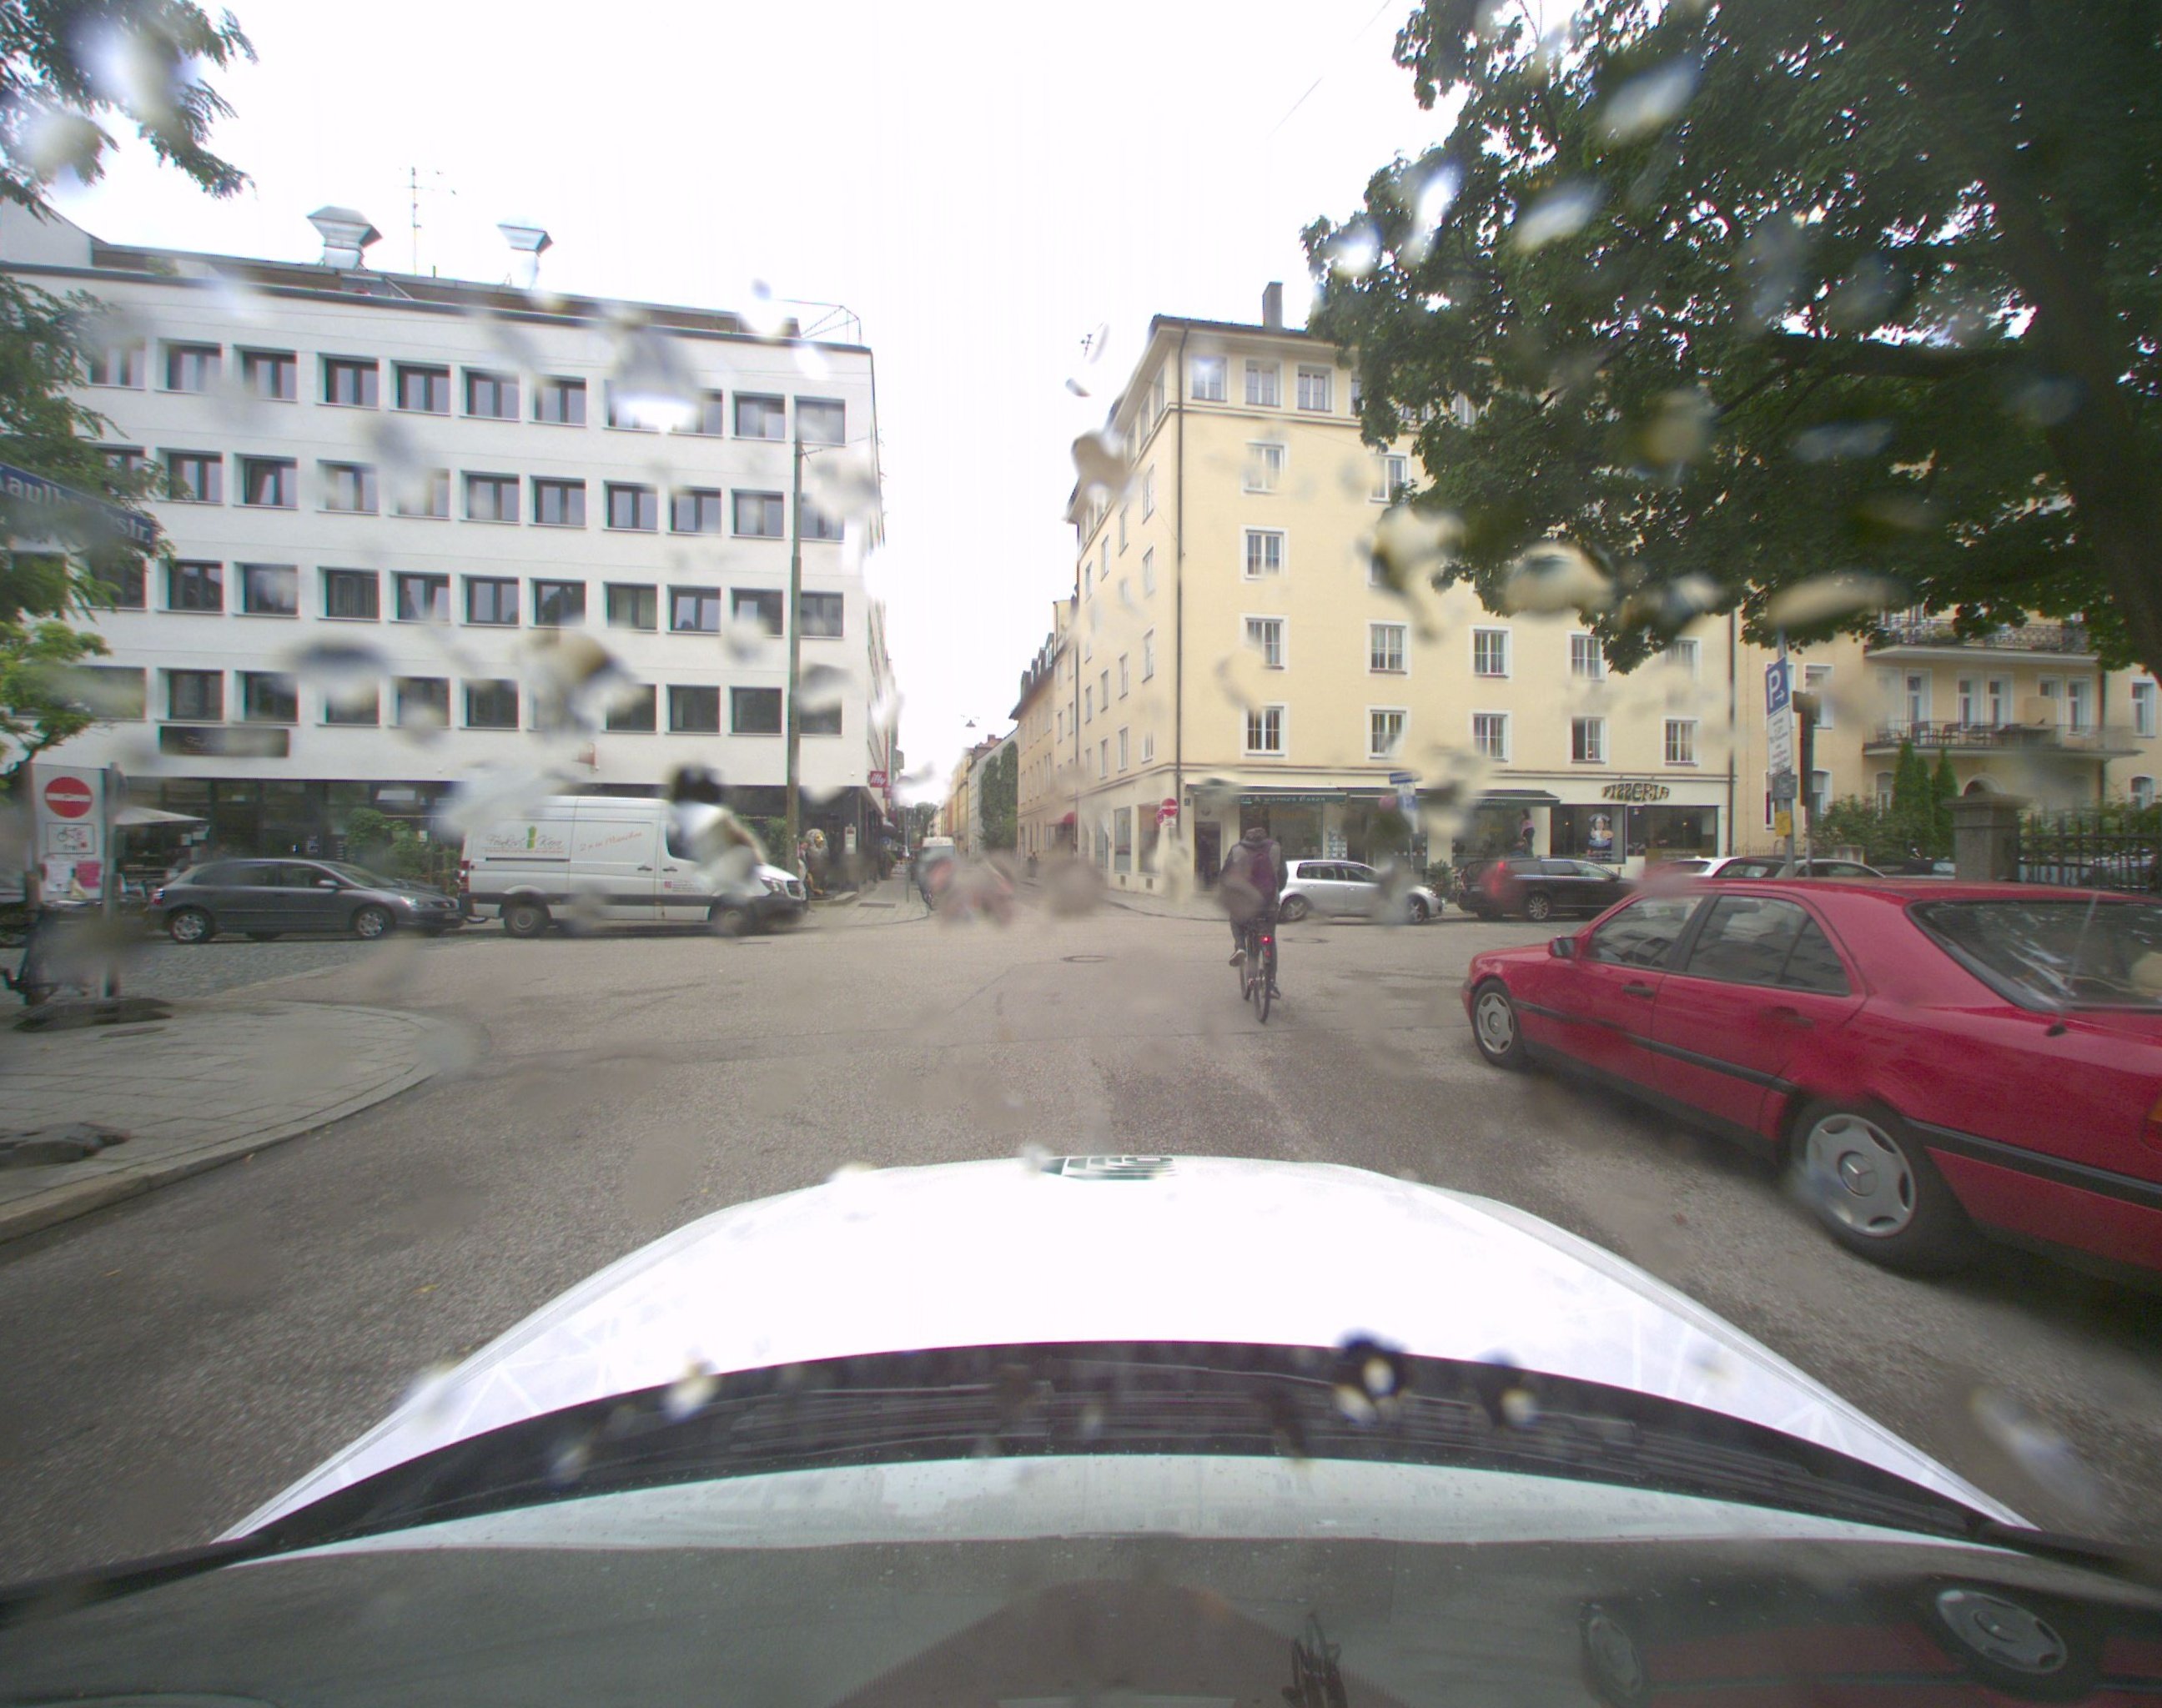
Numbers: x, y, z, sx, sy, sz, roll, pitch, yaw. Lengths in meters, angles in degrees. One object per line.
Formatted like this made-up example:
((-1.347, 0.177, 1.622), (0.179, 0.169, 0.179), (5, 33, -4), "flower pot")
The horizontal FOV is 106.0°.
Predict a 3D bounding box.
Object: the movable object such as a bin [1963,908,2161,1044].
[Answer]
((8.006, 0.901, 6.370), (0.898, 0.865, 1.218), (0, 0, -1), "movable object such as a bin")

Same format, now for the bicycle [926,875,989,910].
((-3.579, 1.105, 23.568), (1.758, 0.968, 0.592), (0, 0, -15), "bicycle")

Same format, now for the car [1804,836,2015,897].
((21.113, 0.346, 20.824), (3.986, 1.449, 1.805), (0, -3, -10), "car")

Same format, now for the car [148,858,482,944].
((-13.776, 0.825, 14.940), (4.055, 1.429, 1.792), (0, -2, -12), "car")

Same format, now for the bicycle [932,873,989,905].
((-3.780, 1.084, 25.562), (1.739, 0.968, 0.540), (0, 0, -15), "bicycle")

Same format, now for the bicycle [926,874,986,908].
((-3.726, 1.099, 24.238), (1.739, 0.968, 0.540), (0, 0, -15), "bicycle")

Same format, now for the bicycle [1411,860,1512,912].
((9.718, 0.810, 20.856), (2.081, 1.253, 1.104), (1, 1, -8), "bicycle")

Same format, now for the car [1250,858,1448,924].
((6.029, 0.850, 18.705), (3.971, 1.416, 1.821), (0, -3, 2), "car")

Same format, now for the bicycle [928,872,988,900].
((-4.037, 1.058, 26.749), (1.914, 0.863, 0.615), (0, 0, -16), "bicycle")

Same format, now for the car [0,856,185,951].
((-18.731, 0.842, 14.076), (4.121, 1.544, 1.795), (0, -2, -7), "car")

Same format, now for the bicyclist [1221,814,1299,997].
((1.638, 0.451, 7.530), (0.603, 1.606, 0.758), (0, 0, 4), "bicyclist")

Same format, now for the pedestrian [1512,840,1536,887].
((14.814, 0.318, 27.239), (0.435, 1.551, 0.530), (0, 0, -27), "pedestrian")

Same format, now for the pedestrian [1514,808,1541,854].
((15.282, -0.779, 27.870), (0.552, 1.575, 0.576), (2, 0, -9), "pedestrian")

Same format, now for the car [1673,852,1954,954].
((11.791, 0.736, 13.223), (3.317, 1.487, 1.624), (0, 1, -7), "car")

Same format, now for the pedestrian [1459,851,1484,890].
((13.086, 0.557, 27.313), (0.515, 1.297, 0.577), (0, 0, -30), "pedestrian")

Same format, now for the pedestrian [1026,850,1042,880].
((-2.812, 0.635, 48.706), (0.878, 1.778, 0.771), (0, 0, -11), "pedestrian")

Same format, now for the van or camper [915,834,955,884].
((-7.818, 0.230, 43.762), (1.993, 2.540, 4.744), (0, 0, -10), "van or camper")

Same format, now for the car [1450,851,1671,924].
((11.167, 0.767, 19.087), (4.335, 1.592, 1.814), (0, -2, -10), "car")

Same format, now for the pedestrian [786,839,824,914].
((-6.834, 0.553, 20.134), (0.781, 1.783, 0.614), (2, 2, -24), "pedestrian")

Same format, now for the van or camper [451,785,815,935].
((-8.443, 0.109, 15.910), (5.900, 2.677, 1.868), (0, -2, -8), "van or camper")

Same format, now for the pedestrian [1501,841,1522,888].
((14.169, 0.333, 26.800), (0.550, 1.537, 0.437), (1, 2, 36), "pedestrian")

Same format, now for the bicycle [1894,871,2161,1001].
((8.607, 0.694, 7.456), (0.479, 1.040, 1.803), (0, -2, 0), "bicycle")

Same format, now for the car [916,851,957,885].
((-6.924, 0.650, 39.024), (1.833, 1.535, 3.985), (0, 0, -11), "car")

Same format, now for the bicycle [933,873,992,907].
((-3.641, 1.093, 24.952), (1.739, 0.968, 0.540), (0, 0, -15), "bicycle")

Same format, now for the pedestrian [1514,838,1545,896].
((13.373, 0.380, 24.275), (0.602, 1.702, 0.542), (0, 2, -8), "pedestrian")

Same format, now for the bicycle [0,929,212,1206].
((-5.144, 0.942, 3.758), (0.899, 1.046, 1.645), (2, -1, -22), "bicycle")

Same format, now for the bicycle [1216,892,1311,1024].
((1.651, 0.900, 7.574), (0.636, 1.004, 1.576), (1, 0, 4), "bicycle")

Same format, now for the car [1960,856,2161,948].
((17.634, 0.754, 13.826), (4.186, 1.407, 1.701), (0, 0, -10), "car")

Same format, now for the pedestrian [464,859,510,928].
((-13.142, 0.867, 18.023), (0.644, 1.481, 0.595), (0, -2, 35), "pedestrian")

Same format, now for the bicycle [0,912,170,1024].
((-9.854, 1.039, 7.578), (1.566, 0.947, 0.891), (1, -2, -25), "bicycle")

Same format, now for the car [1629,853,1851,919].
((16.093, 0.786, 19.973), (4.335, 1.503, 1.814), (0, -2, -10), "car")

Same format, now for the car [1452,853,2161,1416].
((3.674, 0.736, 4.178), (1.663, 1.435, 4.214), (1, 0, 1), "car")

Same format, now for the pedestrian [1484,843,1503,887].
((13.743, 0.357, 27.152), (0.507, 1.433, 0.586), (0, 0, 32), "pedestrian")

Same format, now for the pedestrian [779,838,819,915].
((-6.720, 0.525, 19.373), (0.794, 1.746, 0.766), (2, 2, -24), "pedestrian")
